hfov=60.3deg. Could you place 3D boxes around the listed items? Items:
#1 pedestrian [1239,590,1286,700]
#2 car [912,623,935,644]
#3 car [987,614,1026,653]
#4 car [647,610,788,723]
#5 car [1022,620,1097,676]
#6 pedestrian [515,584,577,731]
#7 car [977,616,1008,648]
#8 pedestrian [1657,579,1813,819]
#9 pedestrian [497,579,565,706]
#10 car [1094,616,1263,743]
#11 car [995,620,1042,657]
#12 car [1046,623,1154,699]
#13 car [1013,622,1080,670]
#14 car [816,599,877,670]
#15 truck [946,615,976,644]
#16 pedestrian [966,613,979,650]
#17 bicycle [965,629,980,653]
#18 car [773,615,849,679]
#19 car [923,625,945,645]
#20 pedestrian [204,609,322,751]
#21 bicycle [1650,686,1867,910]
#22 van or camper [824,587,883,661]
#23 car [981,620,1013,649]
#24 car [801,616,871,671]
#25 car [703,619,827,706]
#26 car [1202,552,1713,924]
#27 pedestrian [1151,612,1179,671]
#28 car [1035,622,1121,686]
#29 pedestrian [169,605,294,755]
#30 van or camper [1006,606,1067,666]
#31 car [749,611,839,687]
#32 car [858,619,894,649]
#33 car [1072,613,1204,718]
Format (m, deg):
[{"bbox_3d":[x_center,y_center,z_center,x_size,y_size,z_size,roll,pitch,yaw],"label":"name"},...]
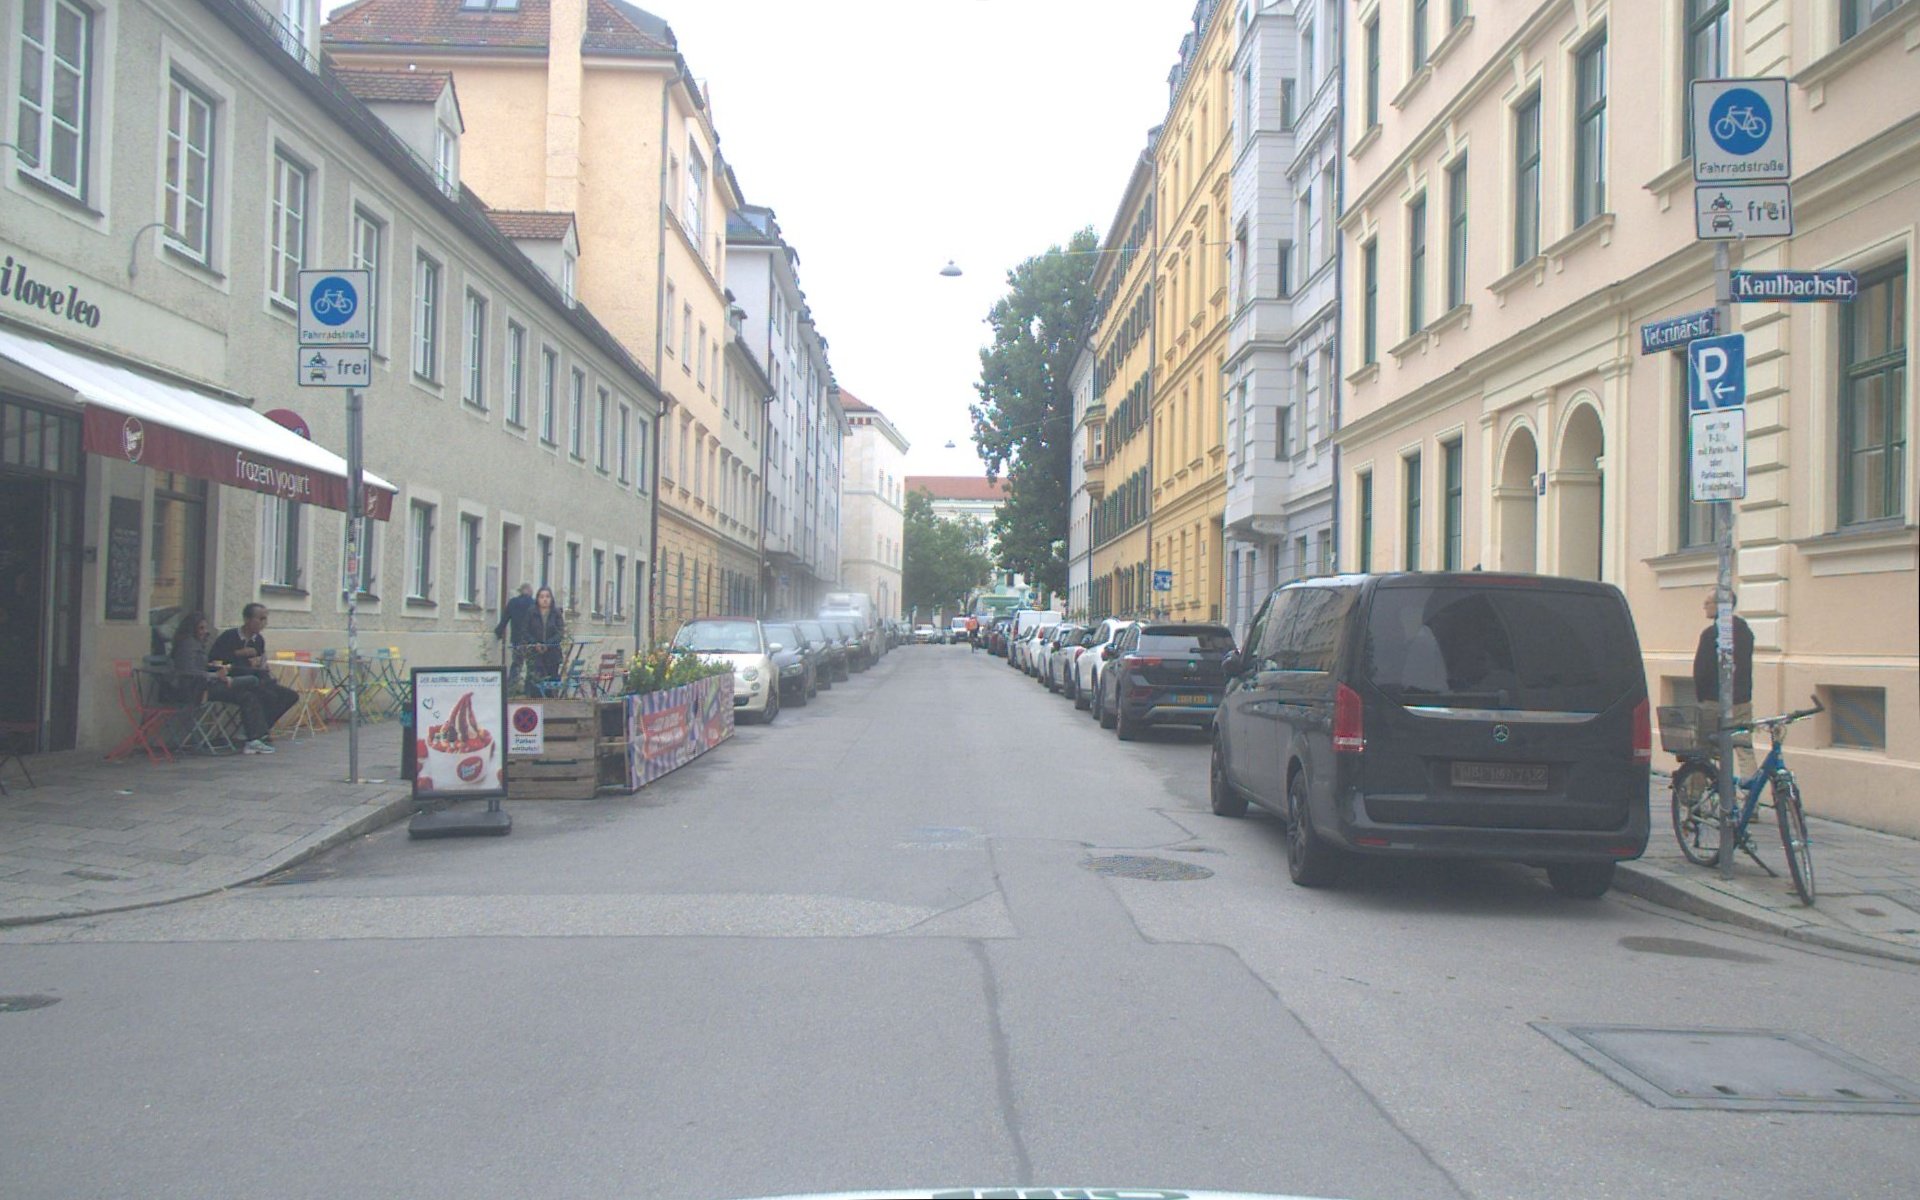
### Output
[{"bbox_3d":[5.631,0.842,30.822,0.656,2.015,0.708,-2,-2,0],"label":"pedestrian"},{"bbox_3d":[-2.902,2.688,132.499,1.671,1.609,3.863,0,-1,2],"label":"car"},{"bbox_3d":[2.340,1.673,83.405,1.775,1.829,4.246,2,-1,0],"label":"car"},{"bbox_3d":[-3.524,0.943,24.639,1.720,1.501,3.711,2,-1,-4],"label":"car"},{"bbox_3d":[2.772,1.330,46.757,1.674,1.480,4.094,2,-1,-3],"label":"car"},{"bbox_3d":[-5.231,0.732,20.932,0.518,1.813,0.877,1,-2,0],"label":"pedestrian"},{"bbox_3d":[1.994,1.988,103.185,1.814,1.953,4.768,1,-1,0],"label":"car"},{"bbox_3d":[5.904,0.742,12.653,0.704,1.747,1.003,1,-2,-2],"label":"pedestrian"},{"bbox_3d":[-6.664,0.660,25.719,0.806,1.931,0.827,1,-2,-2],"label":"pedestrian"},{"bbox_3d":[2.921,1.041,22.934,1.719,1.548,4.273,1,-1,0],"label":"car"},{"bbox_3d":[2.482,1.654,71.123,1.775,1.490,4.245,2,-1,-1],"label":"car"},{"bbox_3d":[2.844,1.221,34.362,1.674,1.429,4.204,2,-1,-3],"label":"car"},{"bbox_3d":[2.654,1.413,51.726,1.674,1.417,4.204,2,-1,-3],"label":"car"},{"bbox_3d":[-3.518,1.048,50.846,1.720,2.030,4.620,2,-1,-5],"label":"car"},{"bbox_3d":[0.143,2.504,137.280,2.076,2.287,6.187,1,-2,4],"label":"truck"},{"bbox_3d":[0.595,1.524,79.409,0.629,1.744,0.842,1,-2,0],"label":"pedestrian"},{"bbox_3d":[0.592,1.967,79.413,0.661,1.114,1.760,1,-2,0],"label":"bicycle"},{"bbox_3d":[-3.635,1.119,40.756,1.780,1.467,4.127,0,0,-4],"label":"car"},{"bbox_3d":[-2.137,2.921,138.640,1.671,1.609,3.863,0,-1,2],"label":"car"},{"bbox_3d":[-6.621,0.757,15.743,0.787,1.313,0.693,1,-2,-1],"label":"pedestrian"},{"bbox_3d":[4.688,1.121,9.826,0.455,1.071,1.729,-1,1,0],"label":"bicycle"},{"bbox_3d":[-3.568,0.819,56.142,1.719,2.321,5.271,1,-1,-2],"label":"van or camper"},{"bbox_3d":[2.162,2.013,97.310,1.774,1.643,4.155,1,-1,0],"label":"car"},{"bbox_3d":[-3.402,1.188,45.919,1.719,1.433,4.101,2,-1,-2],"label":"car"},{"bbox_3d":[-3.421,1.061,29.795,1.762,1.363,4.684,2,0,-2],"label":"car"},{"bbox_3d":[3.020,0.759,11.379,1.956,1.897,5.253,2,-1,1],"label":"car"},{"bbox_3d":[5.751,1.169,46.453,0.647,1.599,0.642,-2,-2,-1],"label":"pedestrian"},{"bbox_3d":[2.806,1.273,40.165,1.673,1.433,4.813,1,-1,0],"label":"car"},{"bbox_3d":[-6.604,0.722,15.020,0.787,1.313,0.693,1,-2,-1],"label":"pedestrian"},{"bbox_3d":[2.567,1.225,56.613,1.796,1.904,5.078,1,-1,0],"label":"van or camper"},{"bbox_3d":[-3.535,1.033,35.857,1.720,1.522,4.197,2,-1,-3],"label":"car"},{"bbox_3d":[-4.290,1.739,84.849,1.781,1.470,3.817,0,-1,-1],"label":"car"},{"bbox_3d":[2.934,1.064,28.118,1.707,1.611,4.465,1,-1,0],"label":"car"}]
